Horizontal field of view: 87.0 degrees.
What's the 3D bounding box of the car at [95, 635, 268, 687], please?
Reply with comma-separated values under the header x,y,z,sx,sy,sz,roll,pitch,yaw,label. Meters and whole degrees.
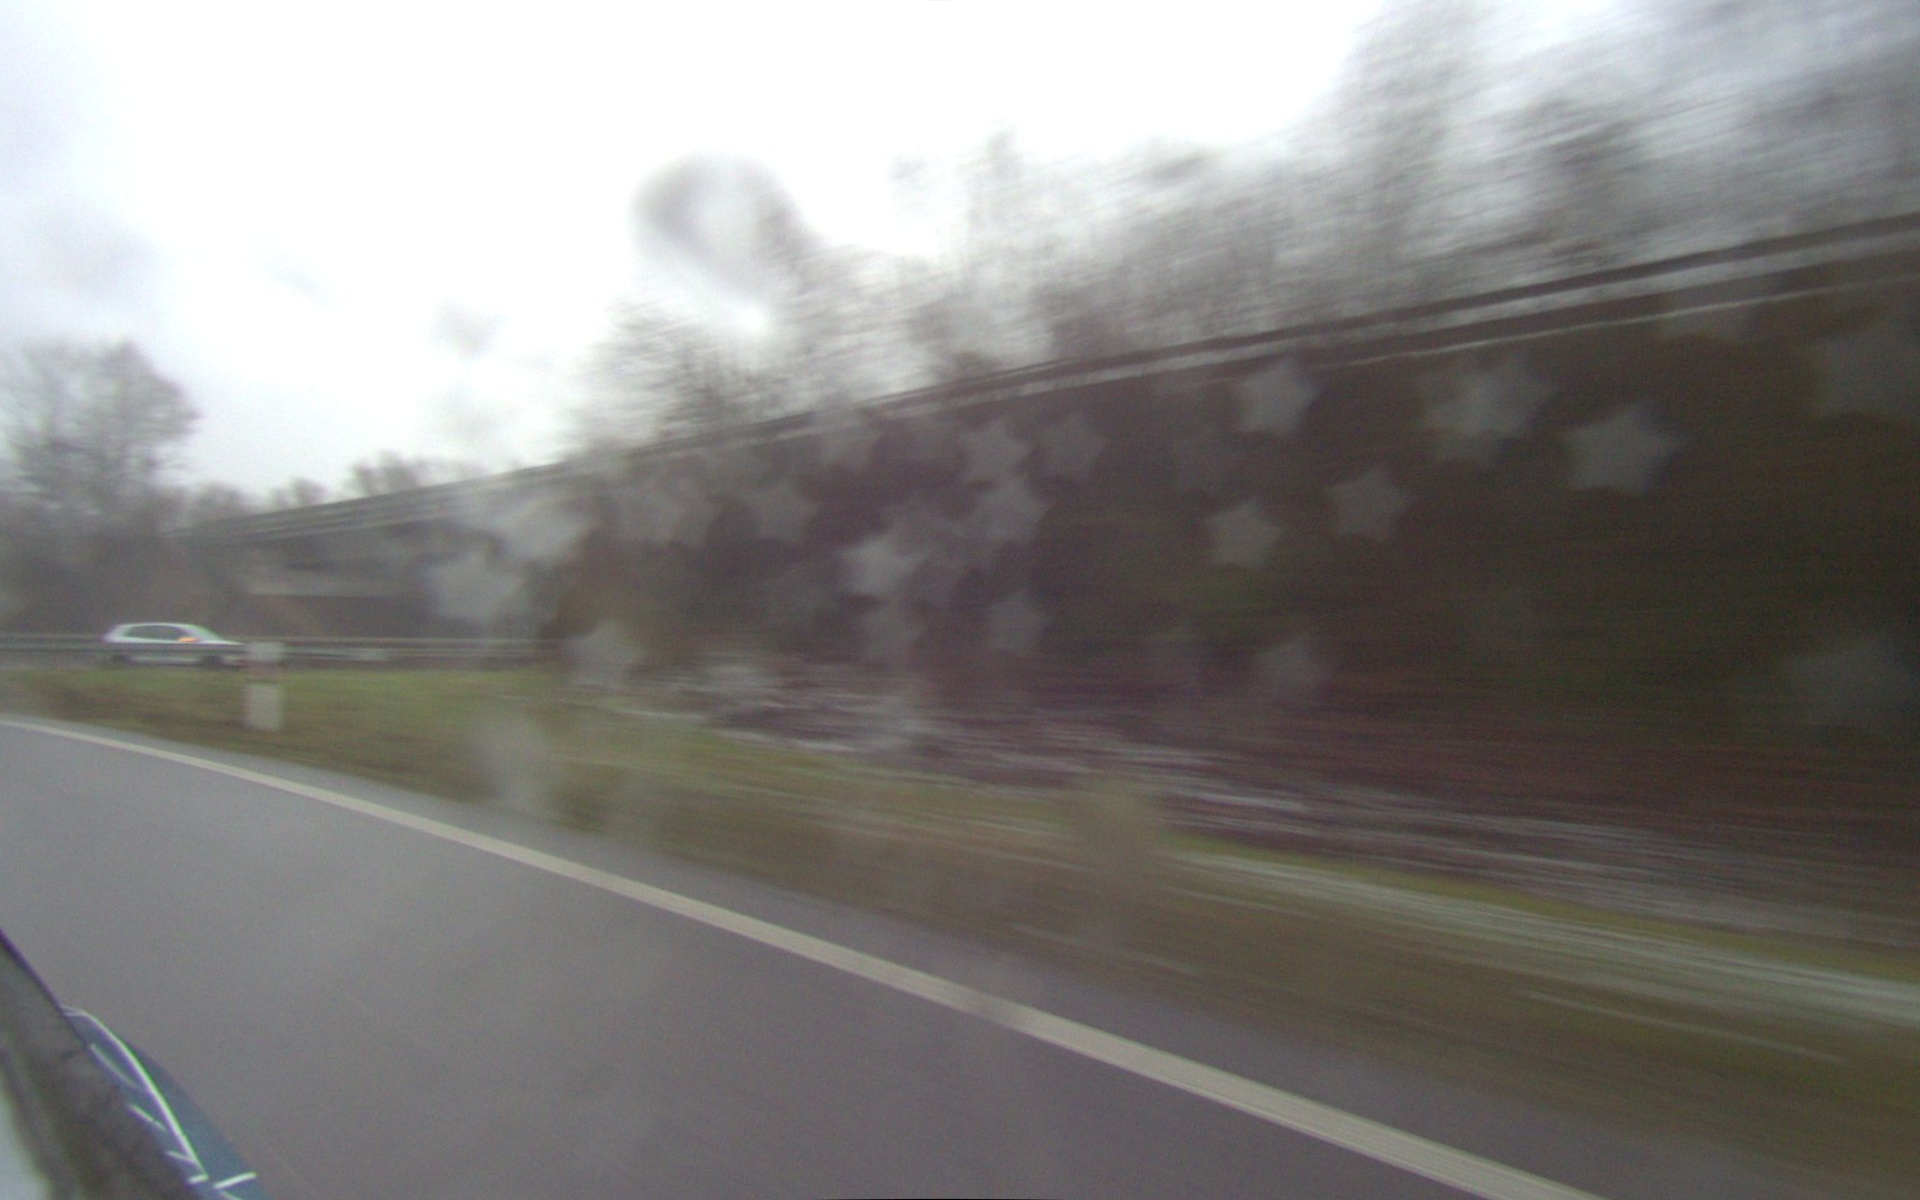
x,y,z,sx,sy,sz,roll,pitch,yaw,label
-23.677,1.845,30.926,3.809,1.523,1.660,1,-3,-14,car
